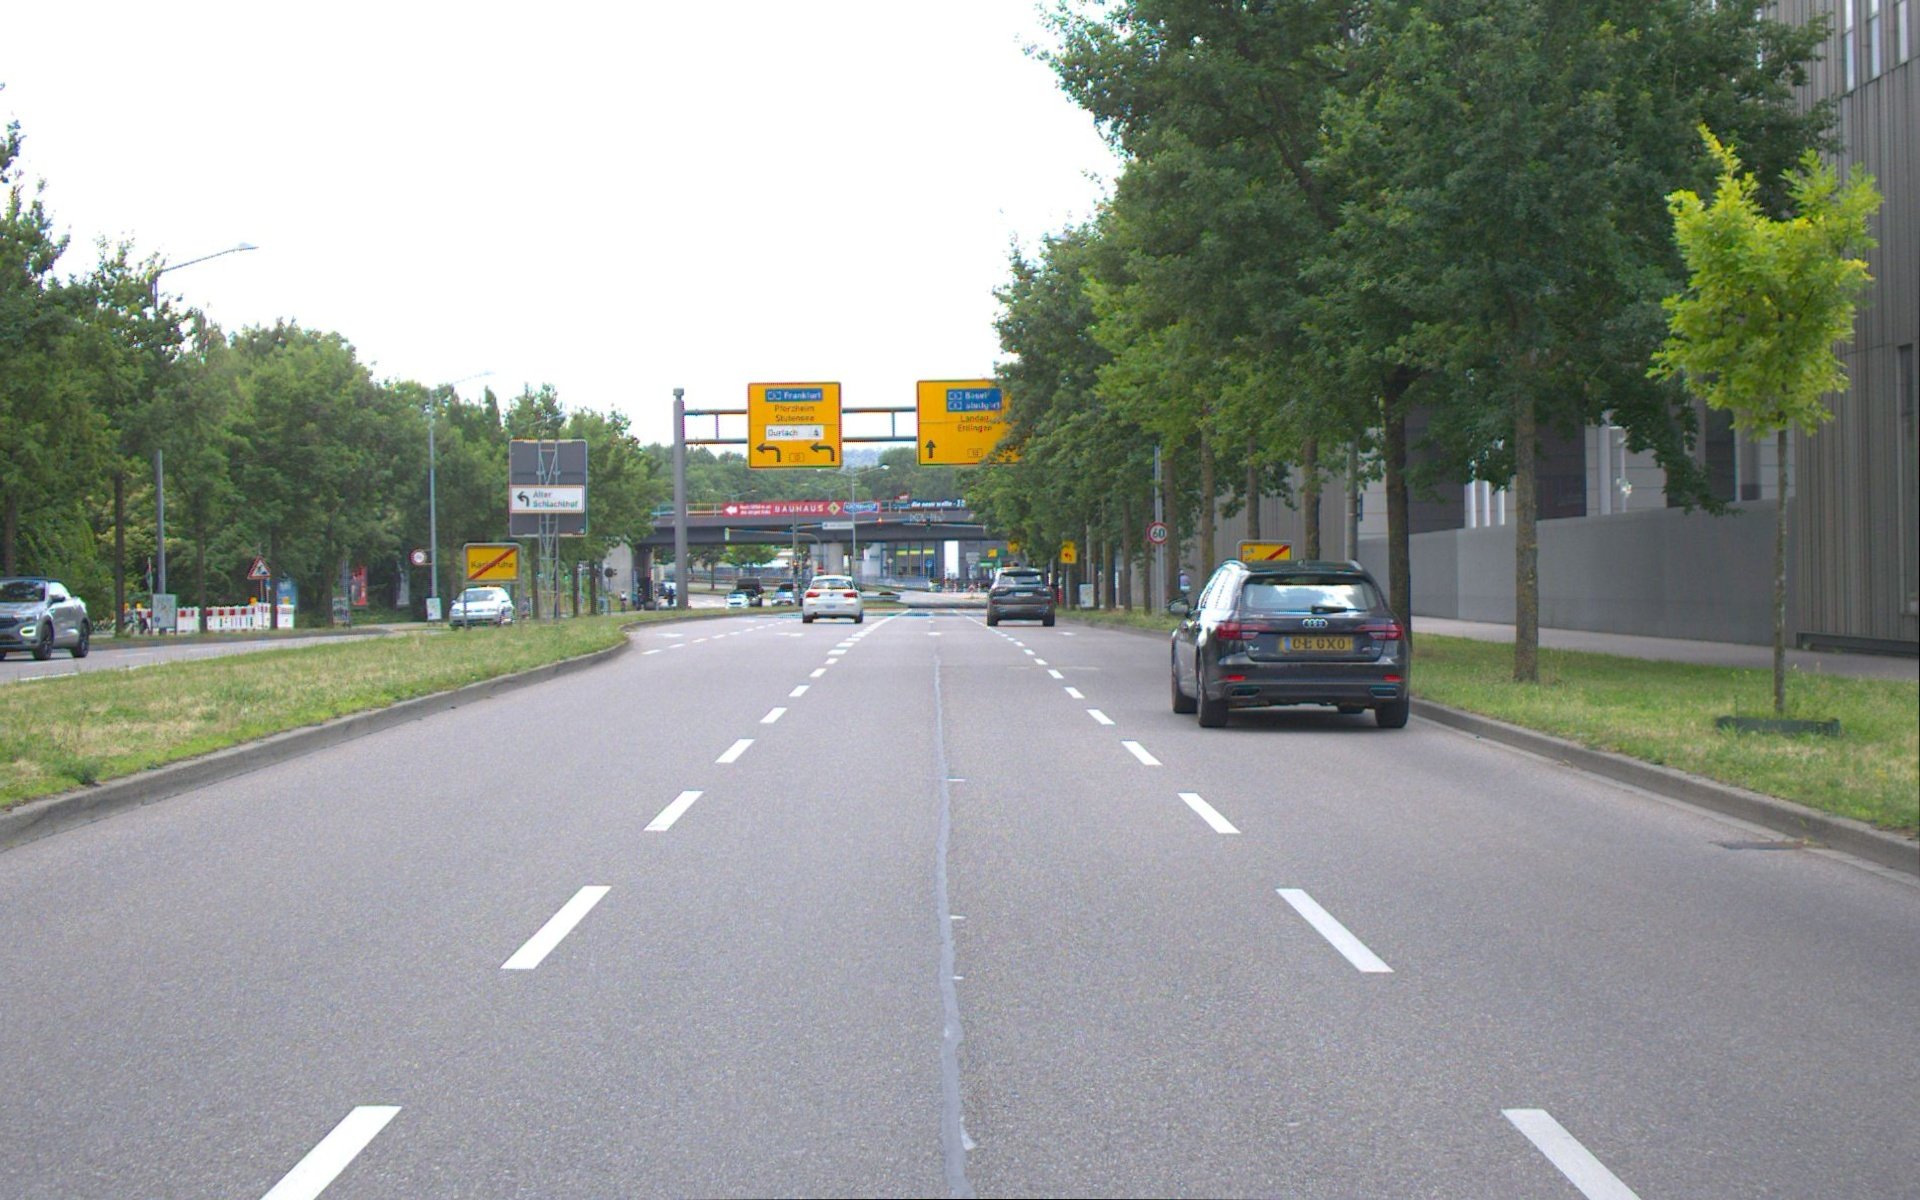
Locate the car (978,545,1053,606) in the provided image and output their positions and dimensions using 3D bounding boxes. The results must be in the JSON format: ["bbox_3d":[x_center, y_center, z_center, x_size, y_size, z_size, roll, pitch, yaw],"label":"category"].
[{"bbox_3d":[1.584,-0.711,96.593,1.993,1.620,4.309,-1,1,2],"label":"car"}]

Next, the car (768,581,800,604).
[{"bbox_3d":[-12.709,-0.573,248.575,1.993,1.612,4.000,-1,0,1],"label":"car"}]

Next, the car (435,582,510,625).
[{"bbox_3d":[-16.259,0.098,114.855,1.640,1.324,4.381,-1,1,3],"label":"car"}]

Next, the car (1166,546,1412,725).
[{"bbox_3d":[2.835,0.289,30.368,1.684,1.458,4.000,0,0,-1],"label":"car"}]

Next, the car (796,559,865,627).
[{"bbox_3d":[-3.936,-0.211,104.079,1.993,2.007,4.000,0,0,-3],"label":"car"}]

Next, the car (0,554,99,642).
[{"bbox_3d":[-17.273,-0.041,63.230,1.741,1.540,4.574,-2,1,-1],"label":"car"}]
